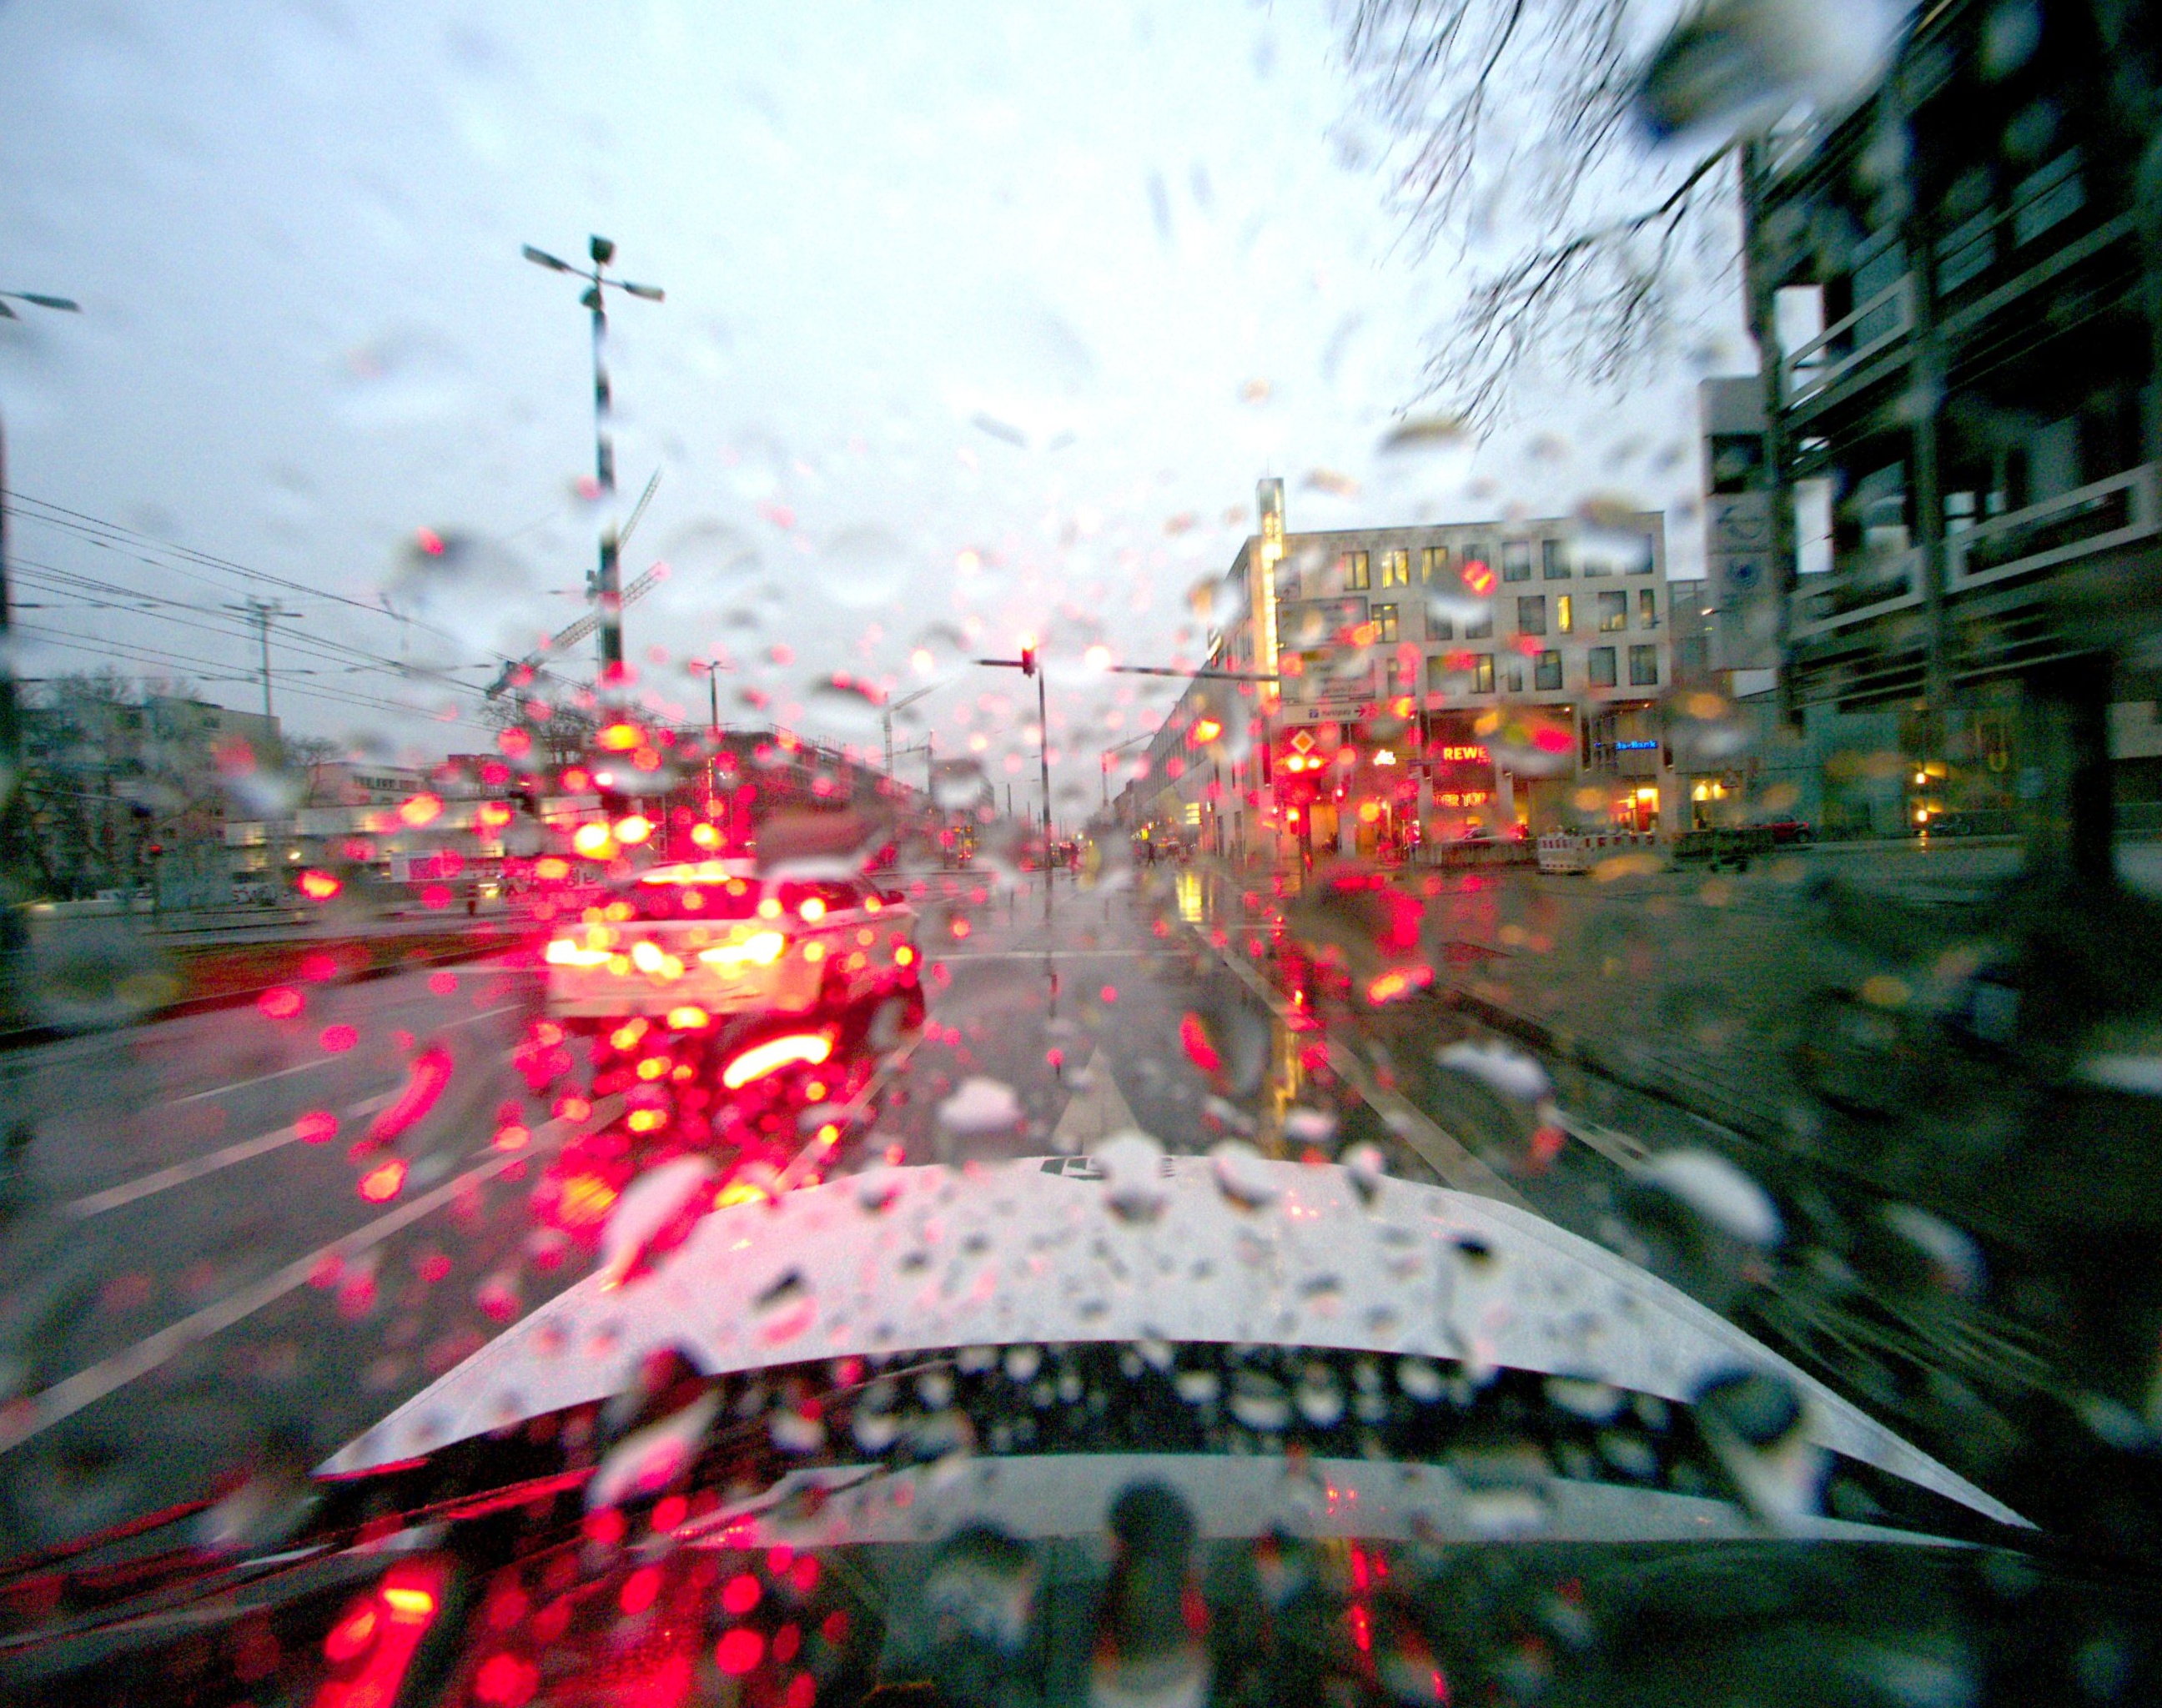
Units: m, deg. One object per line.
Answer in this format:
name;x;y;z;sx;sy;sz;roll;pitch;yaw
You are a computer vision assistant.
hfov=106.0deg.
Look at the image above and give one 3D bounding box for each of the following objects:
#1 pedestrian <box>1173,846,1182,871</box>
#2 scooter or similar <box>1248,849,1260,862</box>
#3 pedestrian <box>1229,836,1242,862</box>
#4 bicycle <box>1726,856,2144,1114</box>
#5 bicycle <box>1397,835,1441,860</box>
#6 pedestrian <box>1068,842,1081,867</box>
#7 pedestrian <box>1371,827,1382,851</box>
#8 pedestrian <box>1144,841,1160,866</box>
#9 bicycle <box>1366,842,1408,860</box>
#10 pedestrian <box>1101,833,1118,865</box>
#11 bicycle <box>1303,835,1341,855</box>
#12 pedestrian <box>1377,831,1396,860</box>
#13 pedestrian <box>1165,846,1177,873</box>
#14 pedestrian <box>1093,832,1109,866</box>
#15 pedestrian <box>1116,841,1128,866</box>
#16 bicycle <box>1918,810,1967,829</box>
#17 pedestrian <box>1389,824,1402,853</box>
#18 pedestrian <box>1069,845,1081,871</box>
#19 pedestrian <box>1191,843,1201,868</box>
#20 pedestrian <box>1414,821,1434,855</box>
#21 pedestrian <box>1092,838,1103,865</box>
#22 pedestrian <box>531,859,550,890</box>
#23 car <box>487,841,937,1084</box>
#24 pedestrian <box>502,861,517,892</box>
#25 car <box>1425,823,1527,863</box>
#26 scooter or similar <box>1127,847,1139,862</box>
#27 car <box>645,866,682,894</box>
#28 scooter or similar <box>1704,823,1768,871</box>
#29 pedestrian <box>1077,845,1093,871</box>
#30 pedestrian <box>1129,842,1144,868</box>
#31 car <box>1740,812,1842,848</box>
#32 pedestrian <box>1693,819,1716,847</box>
pedestrian;6.768;0.319;57.249;0.510;1.760;0.374;-3;0;2
scooter or similar;12.423;0.133;58.596;0.738;0.916;0.401;-3;0;4
pedestrian;10.672;-0.314;56.340;0.700;1.760;0.653;-3;0;2
bicycle;4.462;0.649;4.298;1.746;1.148;0.435;-4;0;-3
bicycle;16.109;-0.308;38.823;1.830;1.093;0.620;-3;0;17
pedestrian;-0.417;0.052;54.270;0.703;1.619;0.681;-3;0;4
pedestrian;21.745;-1.094;59.938;0.530;1.717;0.505;-2;0;40
pedestrian;4.791;-0.031;54.903;0.842;1.688;0.675;-3;0;-8
bicycle;17.003;-0.174;45.251;2.121;0.991;0.541;-1;0;0
pedestrian;1.828;-0.350;52.483;0.781;2.013;0.606;-3;0;-36
bicycle;16.889;-0.615;57.036;2.419;1.329;0.634;-2;1;-3
pedestrian;16.962;-0.457;45.251;0.812;1.570;0.536;-3;0;-1
pedestrian;6.182;0.376;55.802;0.700;1.760;0.668;-3;0;2
pedestrian;1.277;-0.307;51.380;0.691;2.087;0.606;-3;0;-38
pedestrian;2.810;-0.014;55.507;0.737;1.667;0.401;-3;0;8
bicycle;49.402;-1.972;46.738;0.613;1.033;2.138;-3;0;4
pedestrian;18.929;-0.925;48.997;0.530;1.685;0.552;-2;0;40
pedestrian;-0.401;0.240;52.756;0.704;1.619;0.613;-3;0;0
pedestrian;8.068;0.114;57.077;0.615;1.760;0.482;-3;0;2
pedestrian;16.301;-0.754;38.745;0.774;1.595;0.616;-3;0;18
pedestrian;1.127;-0.158;54.189;0.617;1.746;0.612;-3;0;-3
pedestrian;-36.193;1.405;54.546;0.791;2.014;0.745;-3;-3;-7
car;-2.872;0.699;7.833;1.902;1.520;4.925;-3;0;1
pedestrian;-37.672;1.498;53.682;0.507;2.014;0.638;-4;-3;-8
car;19.938;-0.554;41.248;4.282;1.761;1.710;-3;0;5
scooter or similar;3.549;0.044;55.403;0.737;0.993;0.401;-3;0;8
car;-32.781;1.976;64.028;1.759;2.013;3.978;-3;0;-16
scooter or similar;16.296;-0.174;20.300;0.603;1.130;1.236;-3;0;3
pedestrian;0.265;0.267;53.098;0.808;1.619;0.542;-2;0;40
pedestrian;3.692;0.046;53.967;0.829;1.679;0.619;-3;0;-3
car;35.462;-1.179;40.731;3.557;1.582;1.676;-3;0;0
pedestrian;37.031;-1.261;48.379;0.791;1.631;0.710;-1;0;2
